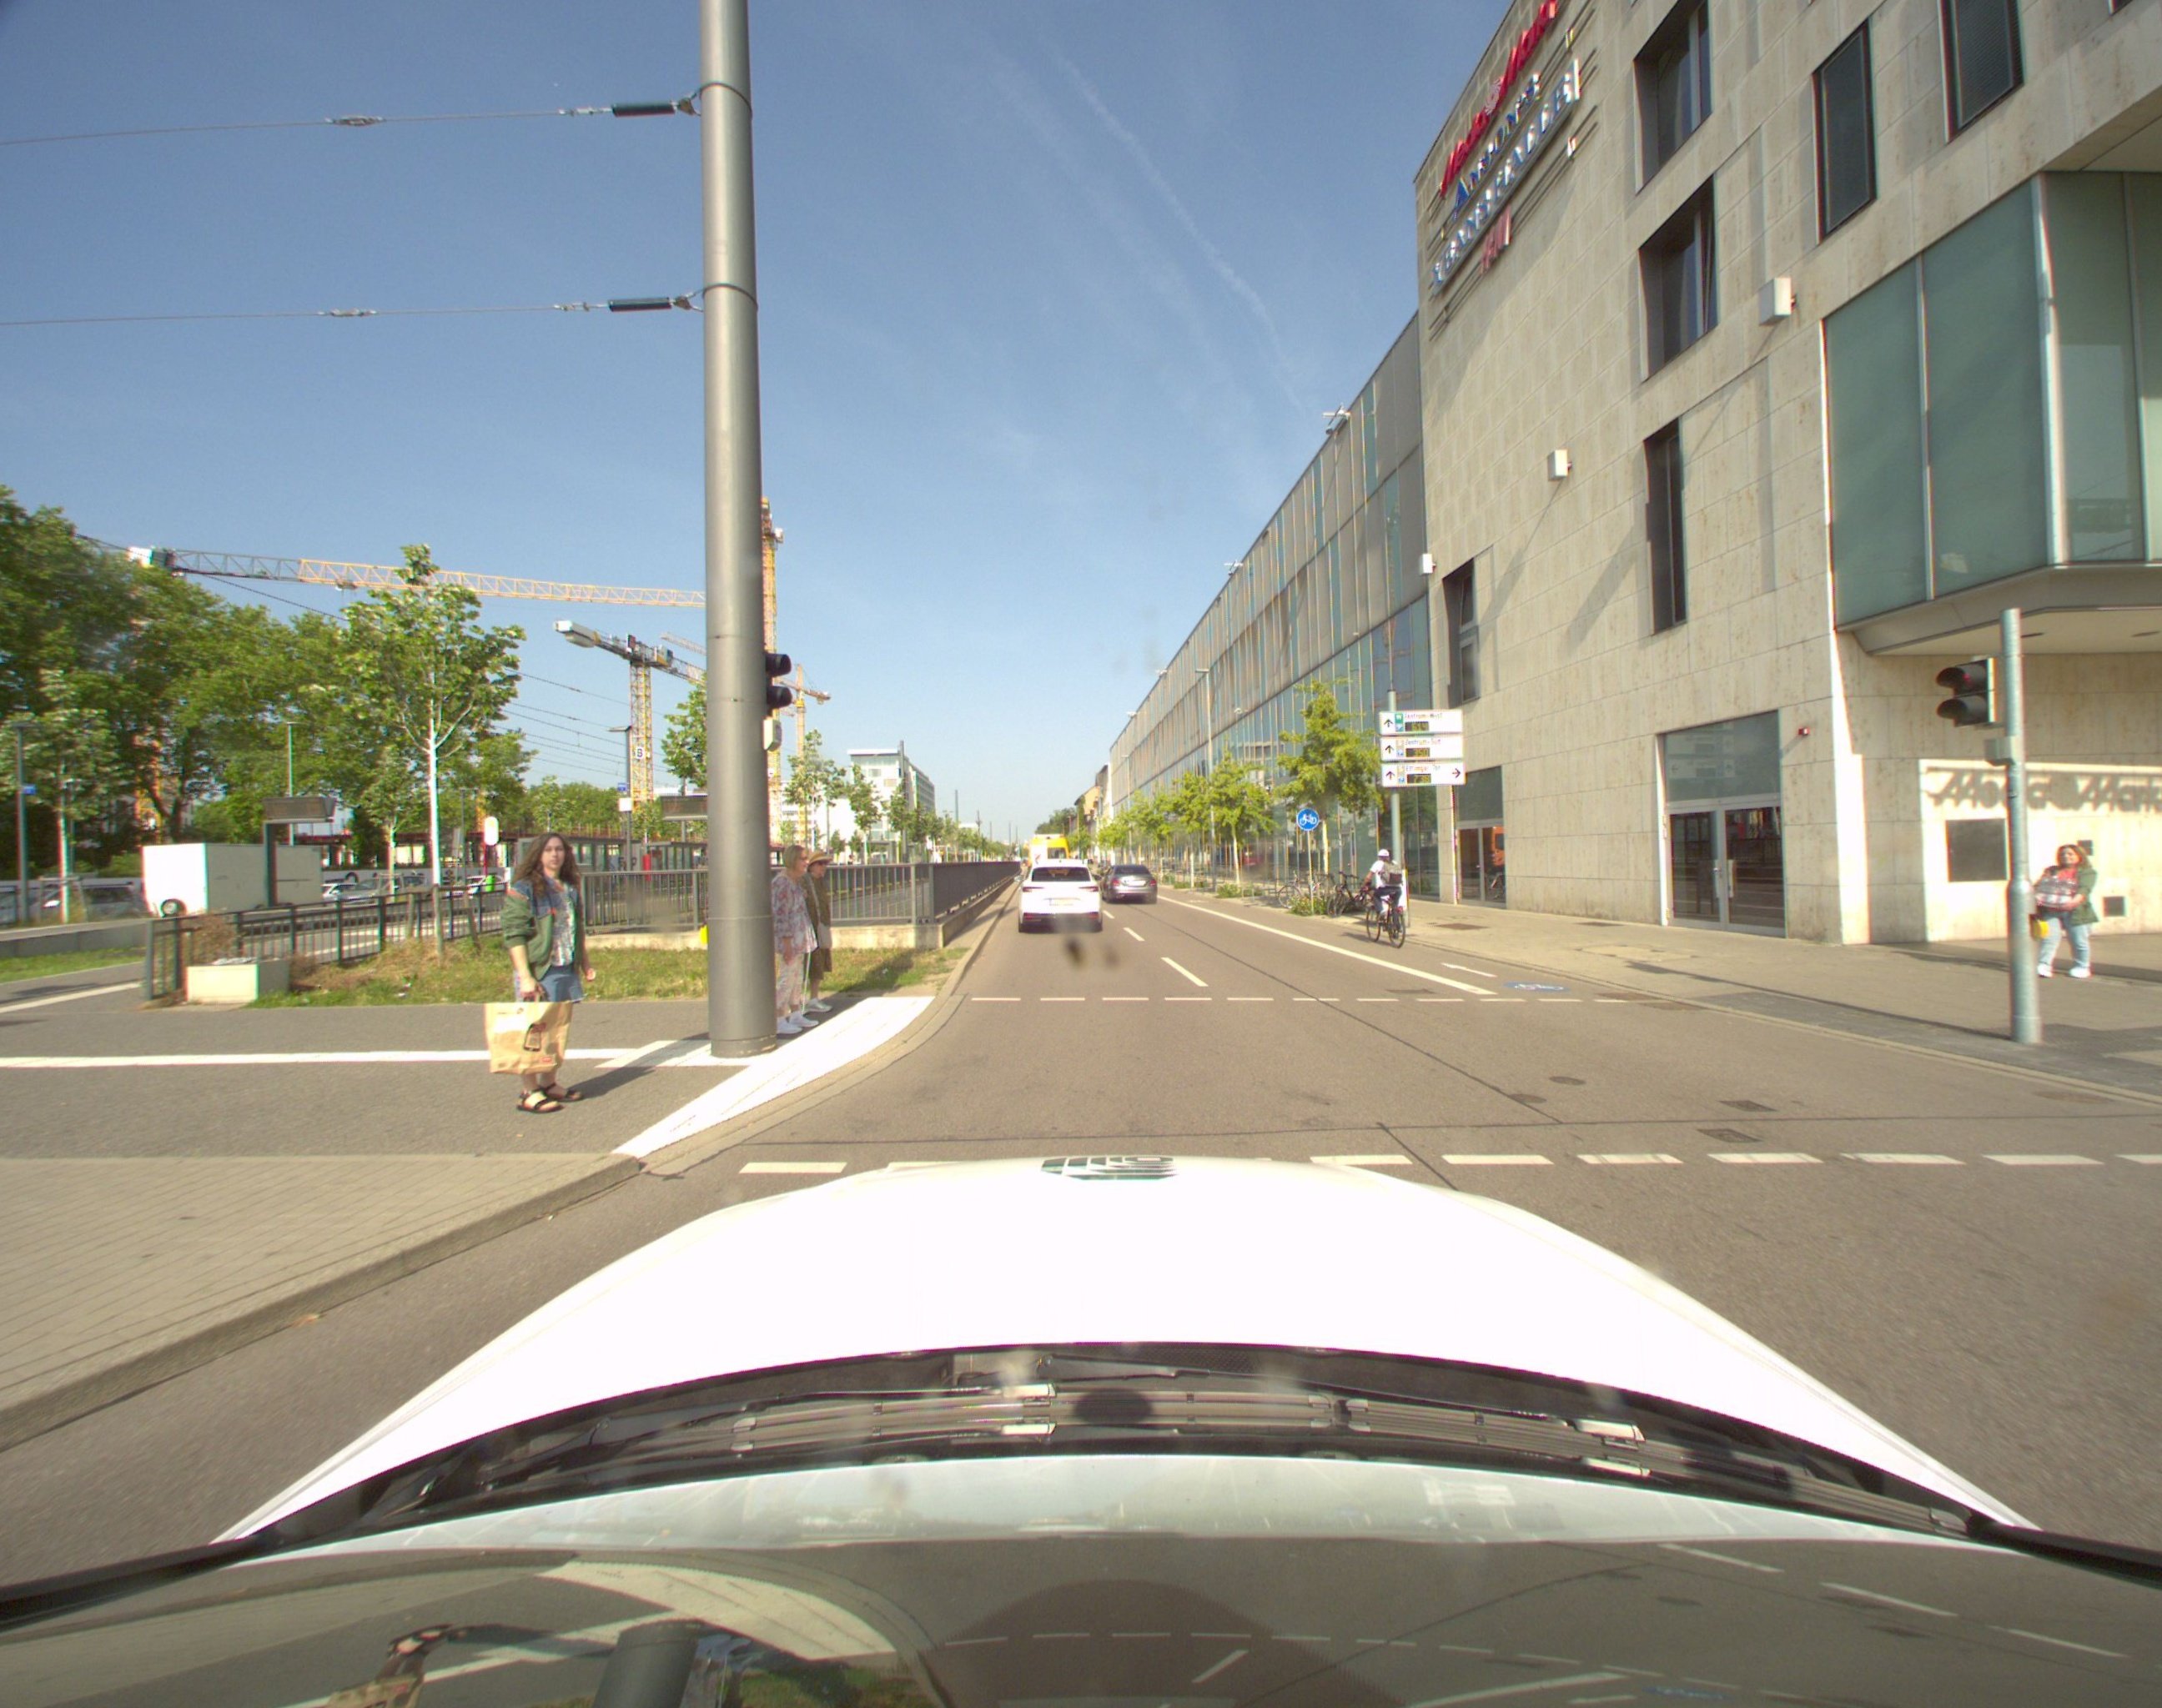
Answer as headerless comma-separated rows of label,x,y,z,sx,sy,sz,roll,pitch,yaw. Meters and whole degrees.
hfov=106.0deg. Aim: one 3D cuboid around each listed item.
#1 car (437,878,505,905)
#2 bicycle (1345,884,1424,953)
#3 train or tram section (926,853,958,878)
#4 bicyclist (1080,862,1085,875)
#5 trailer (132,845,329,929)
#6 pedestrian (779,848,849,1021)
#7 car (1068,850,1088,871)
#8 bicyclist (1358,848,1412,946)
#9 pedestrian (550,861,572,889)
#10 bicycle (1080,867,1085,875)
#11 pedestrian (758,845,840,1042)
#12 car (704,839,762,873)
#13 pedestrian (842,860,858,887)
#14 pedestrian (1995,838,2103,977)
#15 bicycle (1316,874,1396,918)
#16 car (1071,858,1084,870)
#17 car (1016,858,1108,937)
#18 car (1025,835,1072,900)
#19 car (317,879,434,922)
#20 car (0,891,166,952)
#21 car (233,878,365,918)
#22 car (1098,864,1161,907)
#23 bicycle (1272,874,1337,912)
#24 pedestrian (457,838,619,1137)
car,-36.571,2.218,48.902,1.593,1.463,3.430,-1,-1,-3
bicycle,5.609,1.154,15.198,0.659,1.117,2.050,-2,0,-1
train or tram section,-22.549,1.896,133.130,2.899,3.676,18.115,0,-1,-3
bicyclist,0.151,1.853,104.383,0.637,1.577,0.770,-1,-1,-1
trailer,-30.669,1.137,29.663,2.040,2.781,5.014,0,-1,-4
pedestrian,-2.666,0.770,8.180,0.466,1.650,0.776,-1,-1,-3
car,-0.318,0.652,78.382,1.784,2.014,3.997,0,-1,-1
bicyclist,5.594,0.774,15.033,0.649,1.749,0.769,-2,-1,-1
pedestrian,-25.117,1.007,39.340,0.680,1.300,0.591,-2,0,-7
bicycle,0.160,2.175,104.400,0.653,0.939,1.516,-1,0,-1
pedestrian,-2.497,0.758,7.269,0.466,1.650,0.776,-1,-1,-3
car,-39.027,0.259,91.620,3.048,3.513,9.220,-1,-1,-4
pedestrian,-13.958,1.161,49.242,0.734,1.619,0.710,-1,-1,-4
pedestrian,10.900,0.572,9.175,0.711,1.487,0.599,-1,-1,-26
bicycle,7.134,1.094,21.167,1.834,1.113,0.686,0,-1,-2
car,-0.603,1.730,144.060,2.059,2.014,4.582,-1,0,-4
car,-0.495,0.917,18.853,1.866,1.574,3.995,-1,0,-3
car,-1.566,0.516,38.537,2.016,2.795,5.395,-1,1,-3
car,-31.194,2.014,36.202,1.717,1.662,4.146,-1,-1,-3
car,-29.864,1.926,23.731,1.640,1.469,4.396,-1,0,-4
car,-35.303,1.924,36.967,1.789,1.582,4.608,-1,-1,-5
car,1.707,1.121,30.047,1.757,1.436,4.108,0,0,-5
bicycle,6.940,1.210,25.335,1.873,1.109,0.490,-1,-1,-2
pedestrian,-3.241,0.741,4.919,0.466,1.650,0.776,-1,-1,-3
